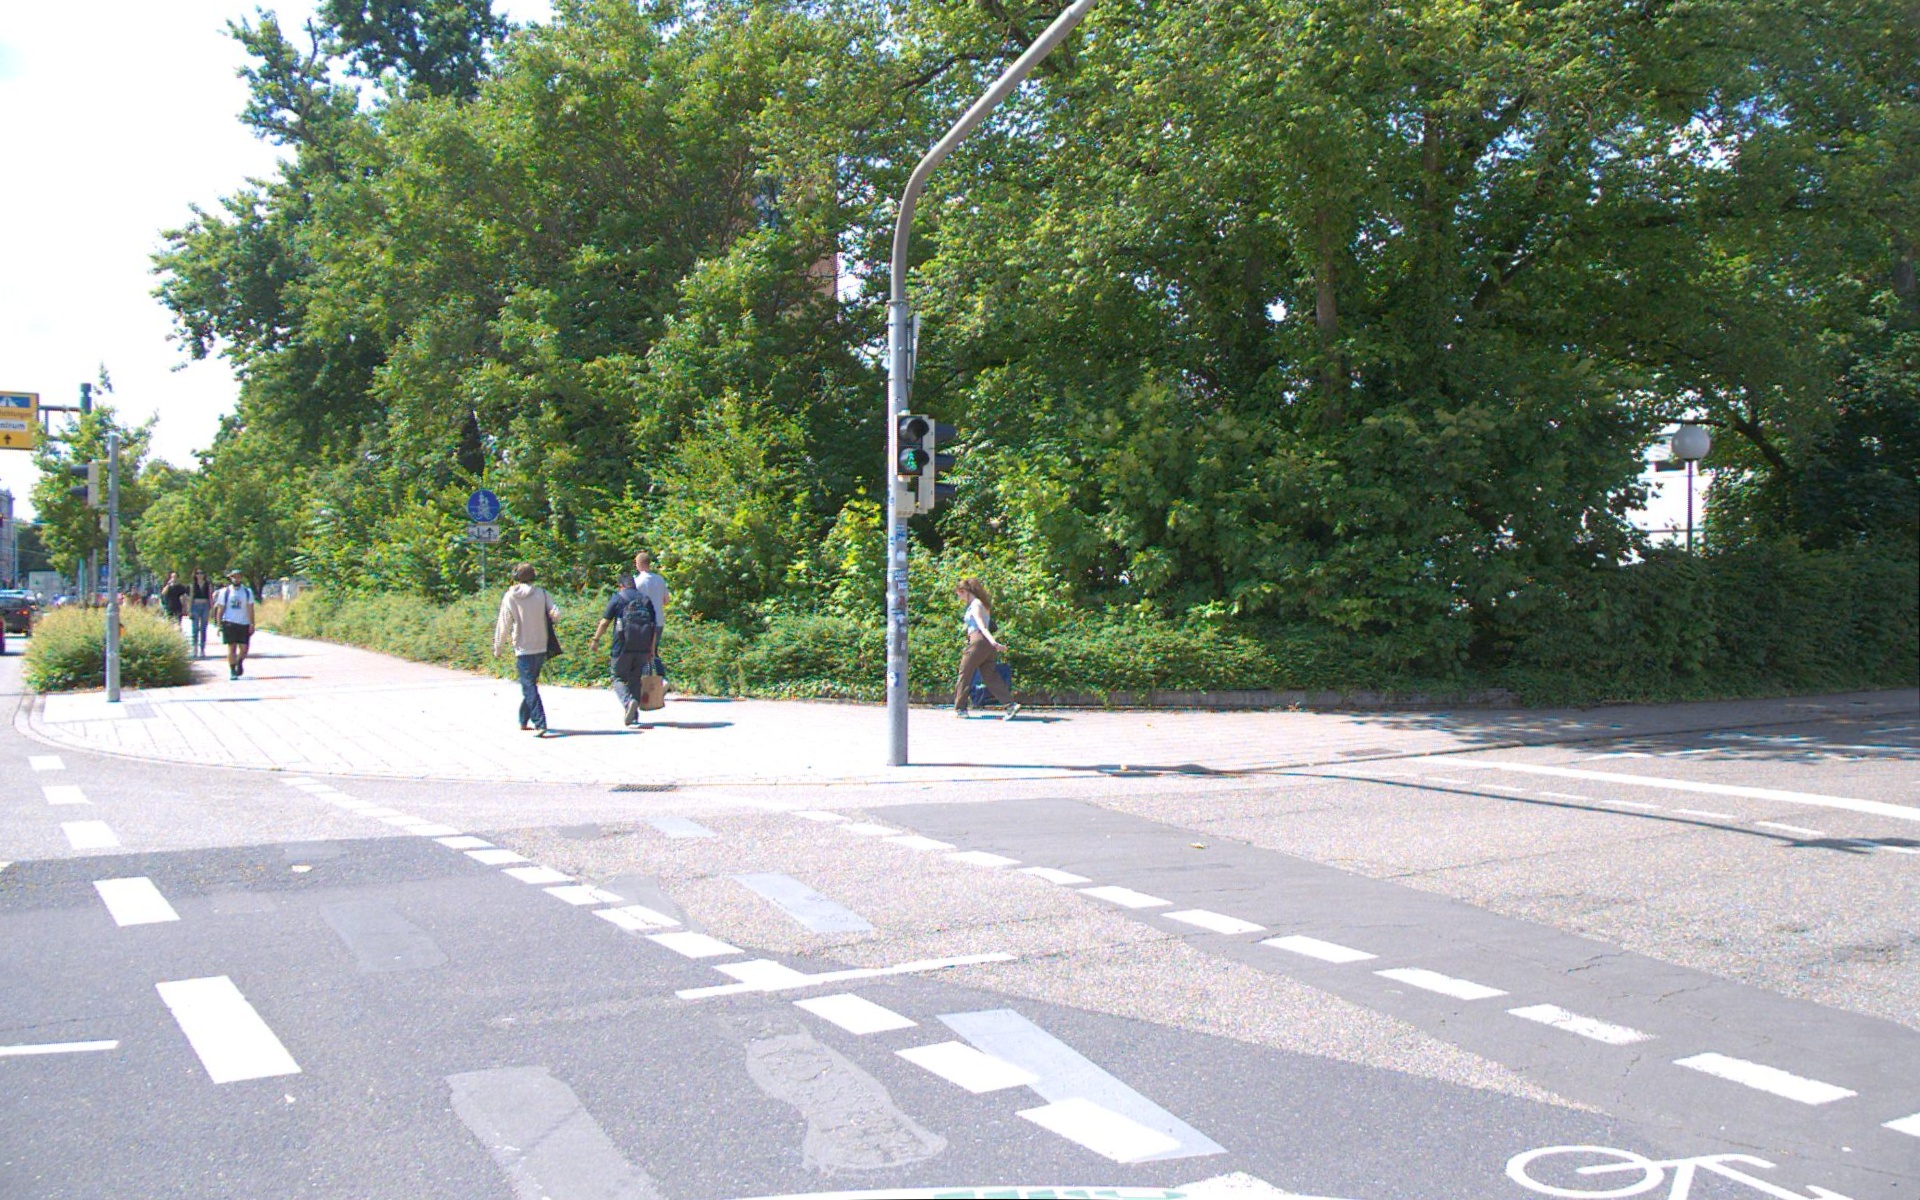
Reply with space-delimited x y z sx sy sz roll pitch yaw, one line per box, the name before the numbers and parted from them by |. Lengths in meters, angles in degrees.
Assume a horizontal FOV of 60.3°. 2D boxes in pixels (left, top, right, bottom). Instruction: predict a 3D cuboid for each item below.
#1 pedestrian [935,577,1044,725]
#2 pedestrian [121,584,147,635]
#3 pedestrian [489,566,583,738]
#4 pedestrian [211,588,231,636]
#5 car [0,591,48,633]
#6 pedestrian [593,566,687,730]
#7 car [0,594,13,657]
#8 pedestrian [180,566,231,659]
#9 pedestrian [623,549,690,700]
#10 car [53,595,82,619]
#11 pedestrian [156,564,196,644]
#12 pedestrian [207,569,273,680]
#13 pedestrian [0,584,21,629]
pedestrian | 0.352 0.567 19.400 0.998 1.654 0.856 1 2 29
pedestrian | -32.708 0.370 65.502 0.830 2.003 0.851 0 0 -32
pedestrian | -4.454 0.518 17.327 0.784 1.734 1.174 1 0 -22
pedestrian | -30.018 0.482 67.203 0.549 1.924 0.501 0 -2 35
car | -34.168 0.429 60.202 1.594 1.436 3.481 2 -1 -30
pedestrian | -3.526 0.501 18.148 0.784 1.734 1.174 1 0 -22
car | -23.494 0.559 39.385 1.594 1.436 3.481 1 0 -30
pedestrian | -15.658 0.254 34.322 0.830 1.901 1.008 0 0 -32
pedestrian | -3.806 0.299 20.719 0.662 1.852 0.698 1 0 -24
car | -65.955 0.498 122.262 1.715 1.693 3.916 2 -1 -27
pedestrian | -19.977 0.097 42.129 0.830 2.003 0.851 0 0 -32
pedestrian | -11.553 0.376 26.517 0.842 1.730 0.922 -1 0 -30
pedestrian | -43.343 0.298 75.159 1.163 2.003 1.003 0 0 -32
